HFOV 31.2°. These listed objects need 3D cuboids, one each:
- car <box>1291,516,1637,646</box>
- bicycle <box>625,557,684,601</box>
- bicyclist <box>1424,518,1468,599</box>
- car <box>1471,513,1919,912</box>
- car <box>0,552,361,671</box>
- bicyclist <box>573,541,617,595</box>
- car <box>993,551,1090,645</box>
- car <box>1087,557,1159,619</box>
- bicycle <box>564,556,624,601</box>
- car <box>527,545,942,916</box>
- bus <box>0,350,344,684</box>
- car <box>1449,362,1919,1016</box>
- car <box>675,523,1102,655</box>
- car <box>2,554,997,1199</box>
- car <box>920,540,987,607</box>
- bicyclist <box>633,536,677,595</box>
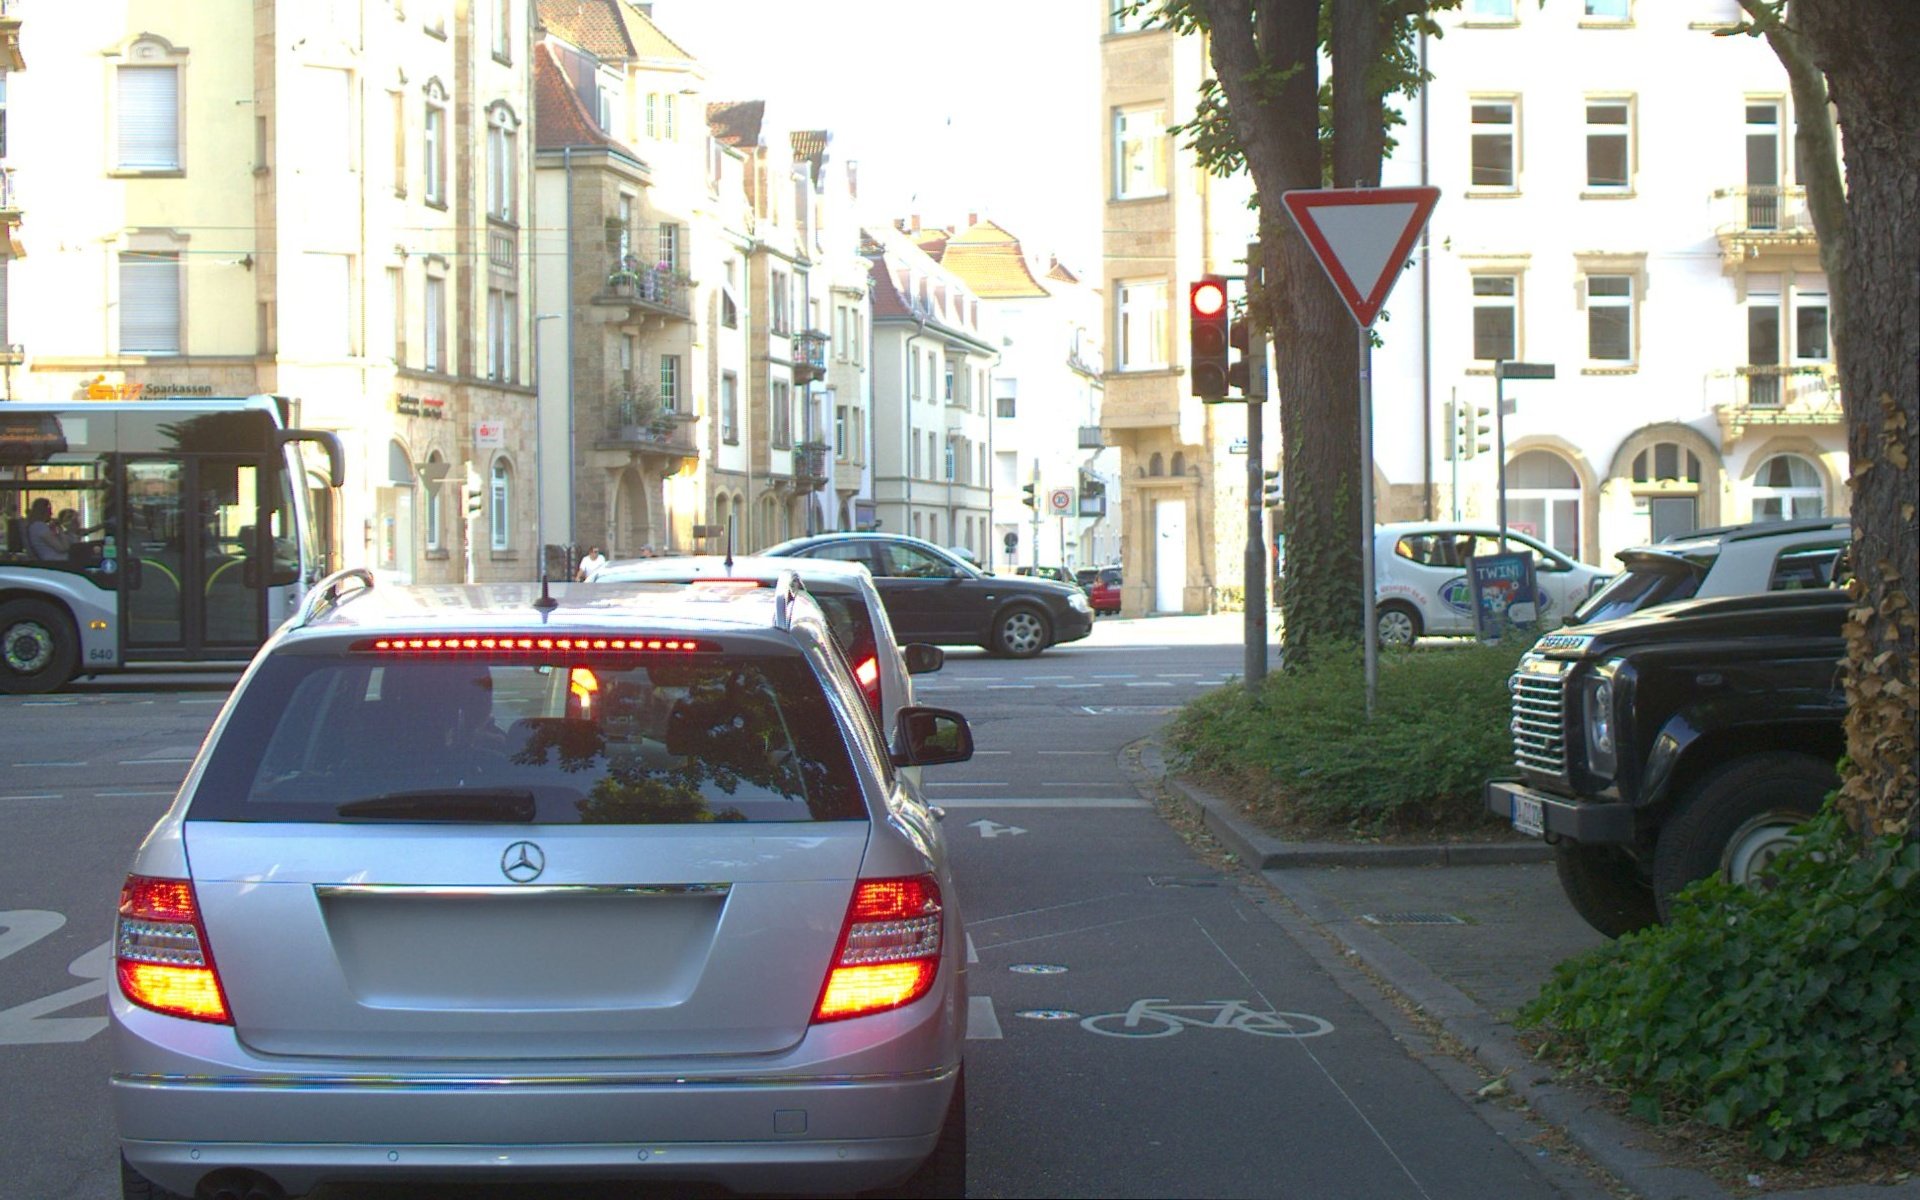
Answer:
[{"bbox_3d":[5.846,-0.237,40.030,3.685,1.444,1.516,-1,1,-8],"label":"car"},{"bbox_3d":[-6.661,-0.468,75.088,0.771,0.930,1.939,1,1,11],"label":"bicycle"},{"bbox_3d":[8.528,-0.731,60.326,0.643,1.421,0.637,0,1,-5],"label":"bicyclist"},{"bbox_3d":[4.231,0.409,14.735,3.723,1.564,1.709,-1,1,-4],"label":"car"},{"bbox_3d":[-8.765,0.107,37.917,4.195,1.232,1.719,-1,1,-8],"label":"car"},{"bbox_3d":[-7.967,-0.697,75.070,0.771,1.152,0.752,1,1,11],"label":"bicyclist"},{"bbox_3d":[2.094,-0.084,87.538,2.031,2.272,3.999,0,2,8],"label":"car"},{"bbox_3d":[4.929,-0.383,103.576,1.835,1.738,3.999,0,2,8],"label":"car"},{"bbox_3d":[-7.984,-0.475,74.996,0.771,0.936,1.939,1,1,11],"label":"bicycle"},{"bbox_3d":[-0.976,0.481,15.682,1.619,1.442,4.345,0,1,-2],"label":"car"},{"bbox_3d":[-11.515,-0.790,34.227,10.450,3.190,2.912,-1,1,-8],"label":"bus"},{"bbox_3d":[4.083,0.224,11.777,4.464,2.029,1.701,-1,1,-4],"label":"car"},{"bbox_3d":[-0.850,-0.144,39.288,4.687,1.424,1.719,-1,1,-8],"label":"car"},{"bbox_3d":[-0.919,0.628,8.452,1.777,1.447,4.548,0,1,-2],"label":"car"},{"bbox_3d":[-0.199,-0.936,118.980,1.787,2.196,3.999,0,2,8],"label":"car"},{"bbox_3d":[-6.660,-0.760,75.083,0.771,1.285,0.752,1,1,11],"label":"bicyclist"}]
